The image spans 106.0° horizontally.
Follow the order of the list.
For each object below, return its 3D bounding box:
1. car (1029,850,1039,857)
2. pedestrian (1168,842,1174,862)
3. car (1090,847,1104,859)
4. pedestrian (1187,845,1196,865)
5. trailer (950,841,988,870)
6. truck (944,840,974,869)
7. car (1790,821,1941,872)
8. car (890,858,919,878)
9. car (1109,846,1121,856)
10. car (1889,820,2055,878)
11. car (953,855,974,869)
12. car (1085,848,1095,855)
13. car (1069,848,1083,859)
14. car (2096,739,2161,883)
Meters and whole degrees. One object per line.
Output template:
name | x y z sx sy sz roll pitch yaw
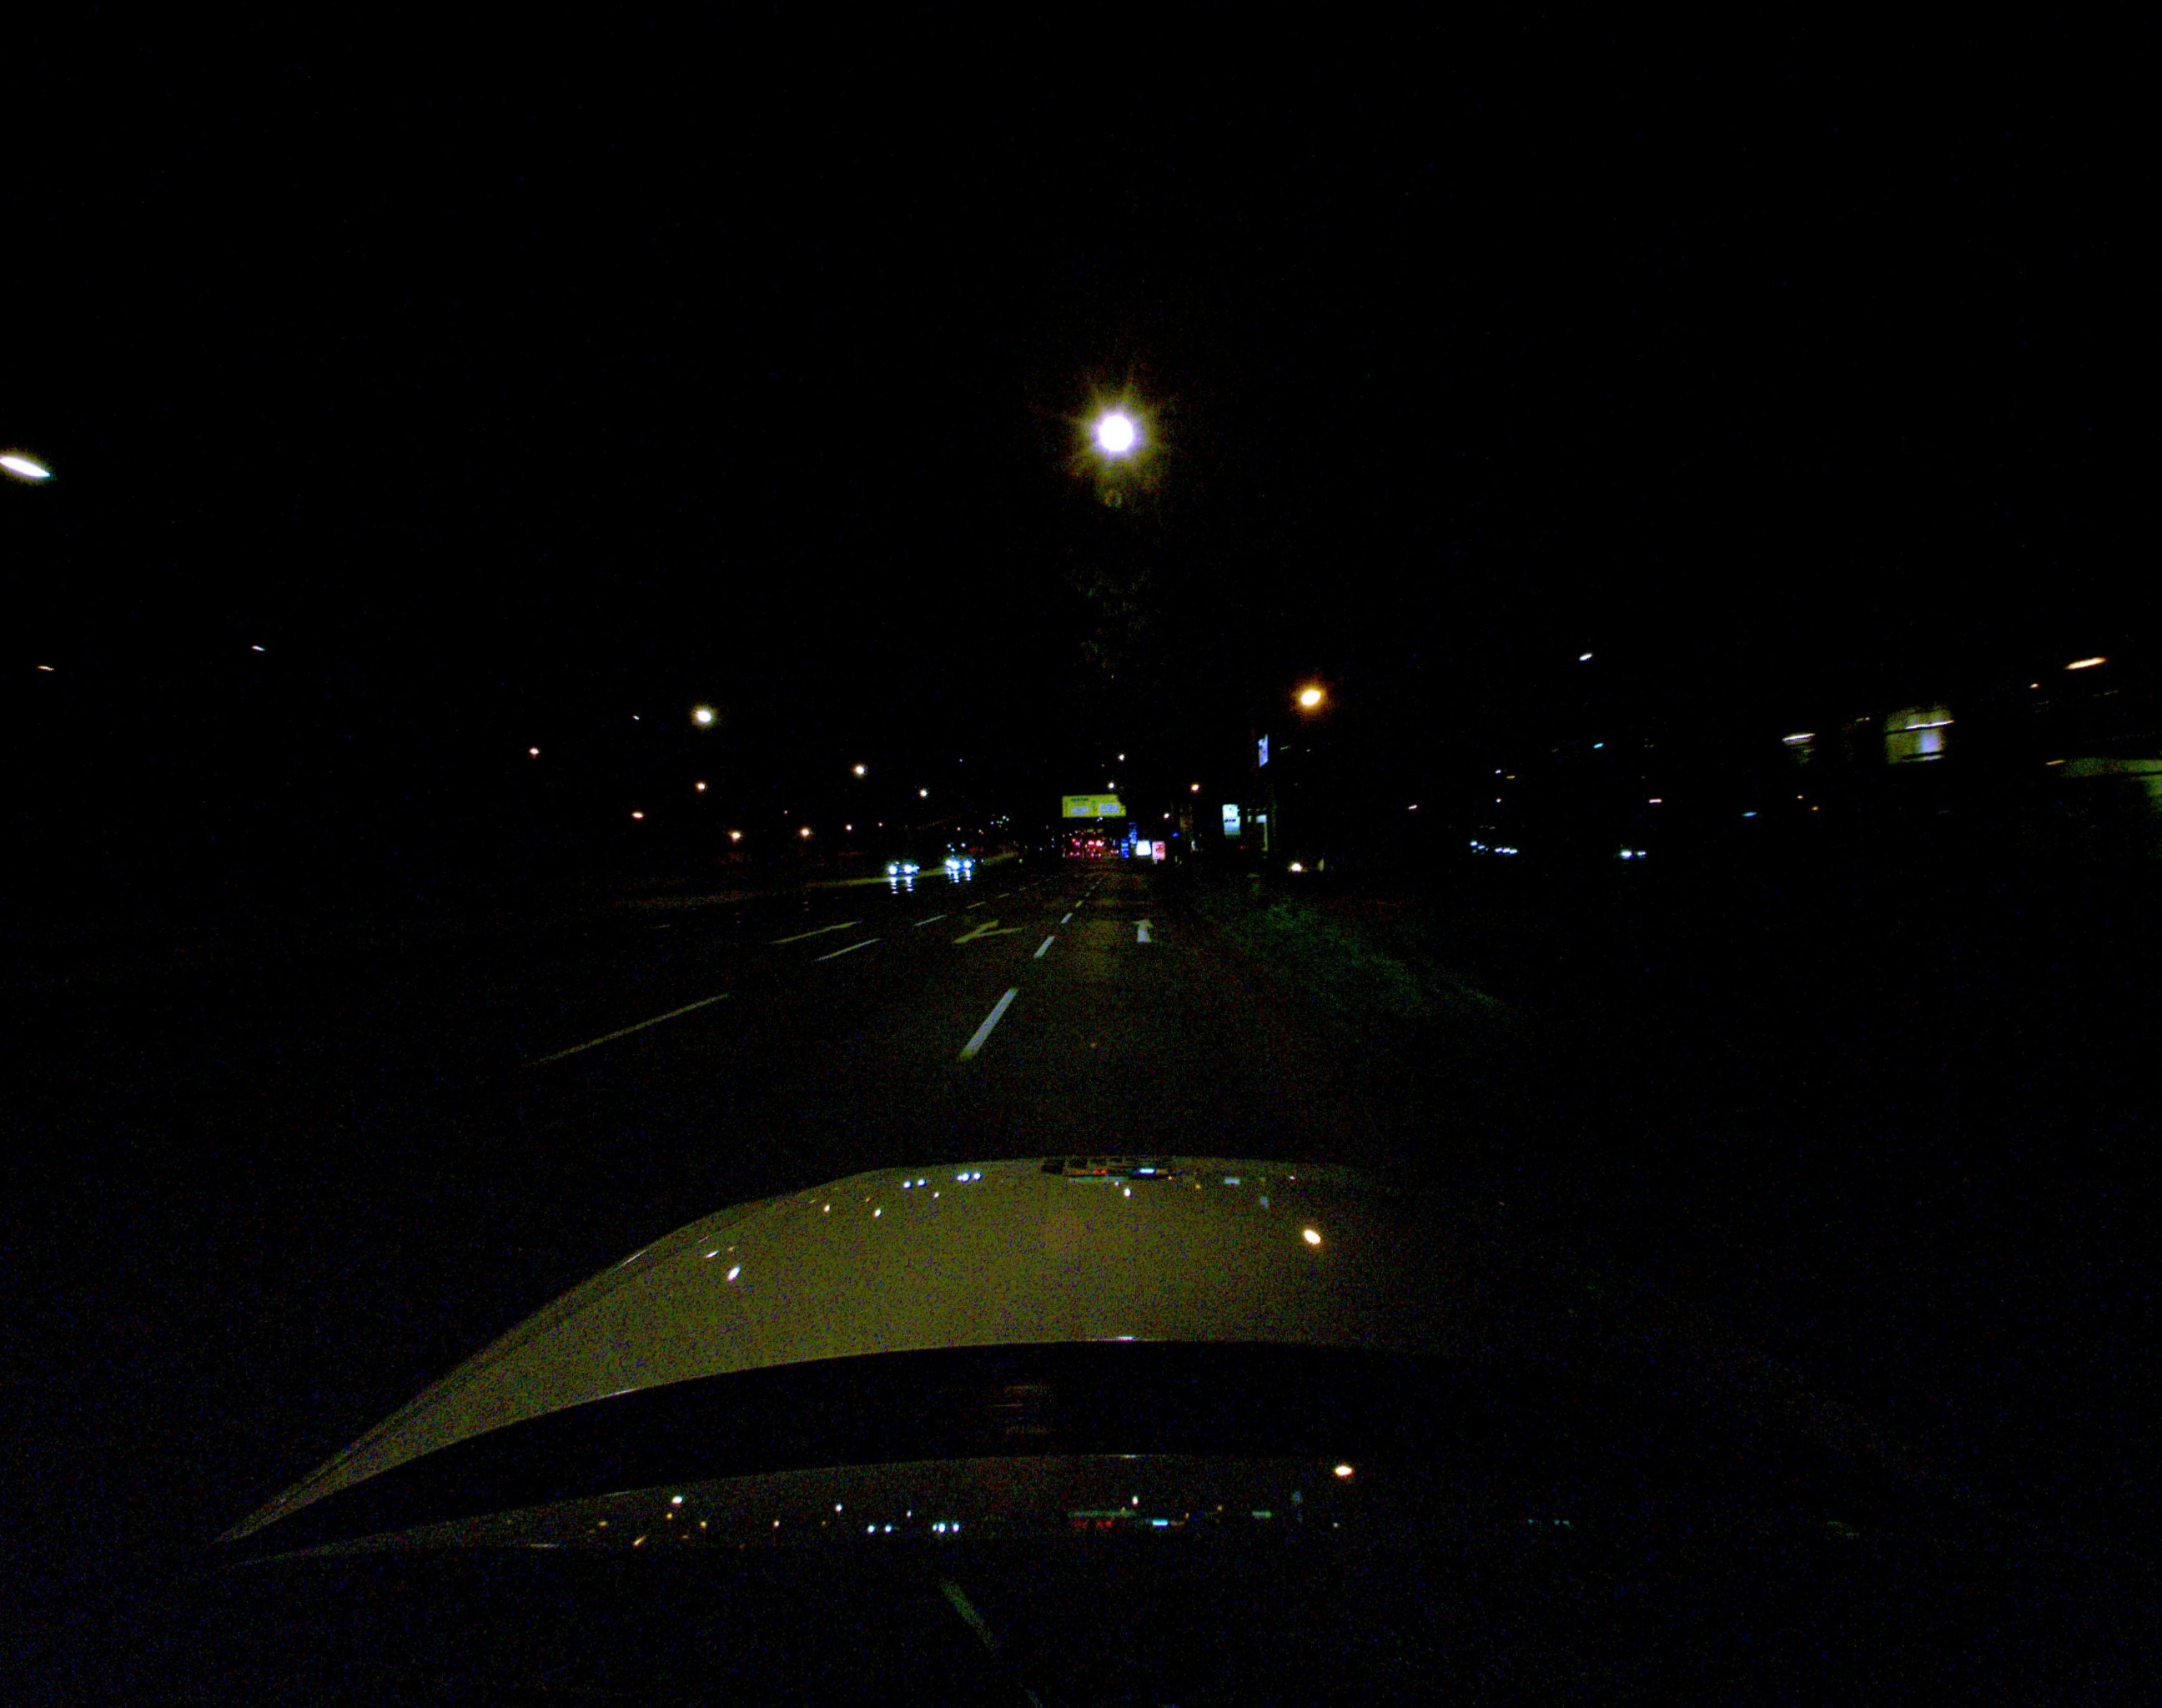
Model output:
car | -10.929 -0.131 188.972 1.986 1.703 4.002 -1 1 2
pedestrian | 11.373 -0.267 102.902 0.741 2.435 0.781 -1 0 4
car | 3.029 -0.205 153.438 2.345 2.129 4.833 -1 1 5
pedestrian | 11.471 0.084 84.478 0.759 2.063 0.644 -1 0 2
trailer | -16.257 0.107 119.453 2.982 4.000 13.964 -1 1 2
truck | -16.607 0.038 111.010 3.029 3.819 4.938 -1 1 2
car | 18.836 -0.195 19.544 3.439 1.094 1.312 -2 1 -22
car | -16.932 1.322 78.130 1.856 1.750 3.702 -1 1 1
car | 7.723 -0.777 185.819 2.416 2.113 4.833 -1 1 5
car | 18.479 -0.129 16.893 3.174 1.085 1.292 -2 1 -22
car | -14.319 0.960 99.343 1.904 1.473 3.773 -1 1 1
car | 2.134 -0.531 191.656 1.986 1.553 4.002 -2 0 2
car | -1.013 -0.074 158.881 2.252 2.013 4.833 -1 1 5
car | 15.915 -0.611 10.853 3.779 1.862 1.986 -2 1 -22
